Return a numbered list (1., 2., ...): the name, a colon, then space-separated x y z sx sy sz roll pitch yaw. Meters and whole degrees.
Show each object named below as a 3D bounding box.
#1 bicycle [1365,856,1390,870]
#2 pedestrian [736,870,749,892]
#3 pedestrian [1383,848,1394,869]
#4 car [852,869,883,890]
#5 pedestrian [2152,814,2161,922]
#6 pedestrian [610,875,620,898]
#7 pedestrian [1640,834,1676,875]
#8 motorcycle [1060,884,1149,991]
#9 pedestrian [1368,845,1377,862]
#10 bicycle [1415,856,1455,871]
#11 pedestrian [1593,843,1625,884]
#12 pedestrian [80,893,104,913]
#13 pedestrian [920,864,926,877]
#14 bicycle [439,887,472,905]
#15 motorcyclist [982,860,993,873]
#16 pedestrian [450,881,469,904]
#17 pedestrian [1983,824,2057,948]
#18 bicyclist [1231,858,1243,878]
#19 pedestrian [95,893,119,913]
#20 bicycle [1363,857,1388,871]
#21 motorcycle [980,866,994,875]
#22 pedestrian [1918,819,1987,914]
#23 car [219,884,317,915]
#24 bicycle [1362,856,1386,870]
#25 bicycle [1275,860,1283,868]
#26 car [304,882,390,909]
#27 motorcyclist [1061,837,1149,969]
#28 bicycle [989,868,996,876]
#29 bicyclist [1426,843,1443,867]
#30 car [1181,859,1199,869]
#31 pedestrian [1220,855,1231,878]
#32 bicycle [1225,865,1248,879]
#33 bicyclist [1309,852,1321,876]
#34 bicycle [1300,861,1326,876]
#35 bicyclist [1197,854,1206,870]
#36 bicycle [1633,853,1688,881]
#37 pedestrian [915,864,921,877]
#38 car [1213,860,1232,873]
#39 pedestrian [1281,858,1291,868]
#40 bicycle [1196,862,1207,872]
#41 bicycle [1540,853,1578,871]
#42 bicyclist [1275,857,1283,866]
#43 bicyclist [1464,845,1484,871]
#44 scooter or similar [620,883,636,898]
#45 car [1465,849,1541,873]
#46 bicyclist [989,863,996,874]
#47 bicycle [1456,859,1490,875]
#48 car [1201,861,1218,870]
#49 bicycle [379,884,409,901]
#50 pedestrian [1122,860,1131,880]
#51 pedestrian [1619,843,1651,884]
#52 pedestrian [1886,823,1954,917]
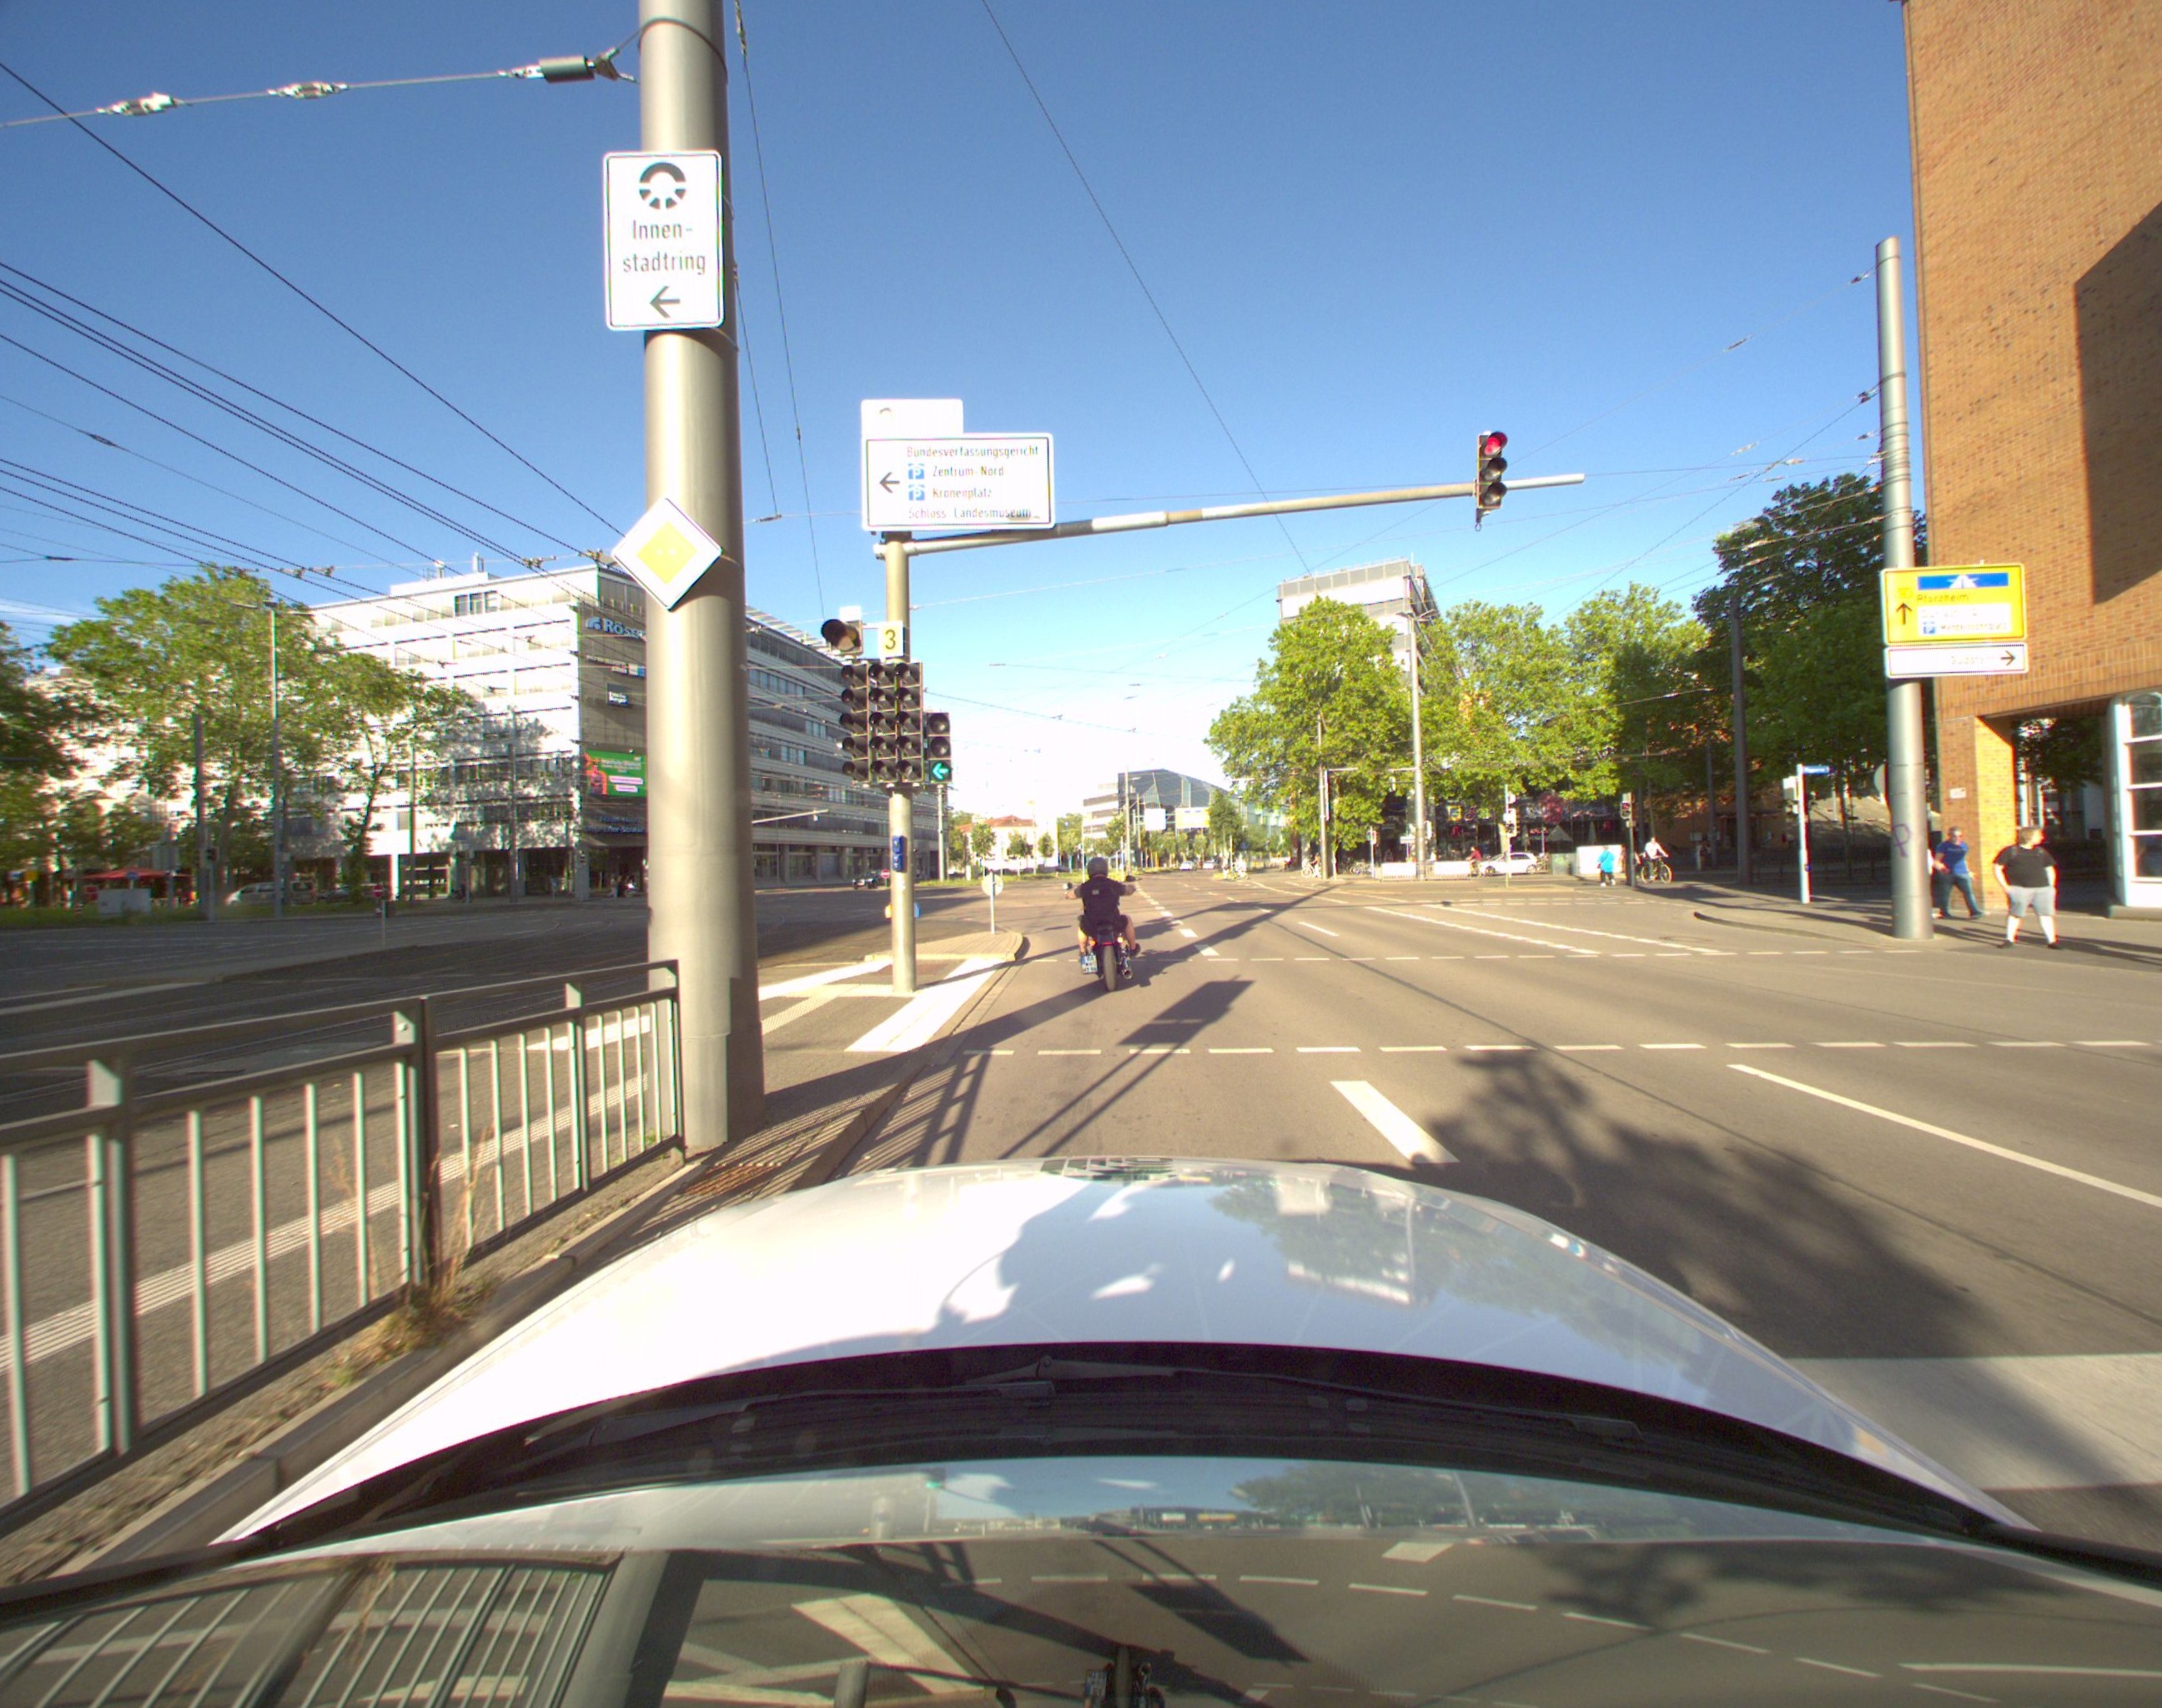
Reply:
1. bicycle: 22.012 0.695 60.549 1.692 0.986 0.392 -2 -1 15
2. pedestrian: -28.261 2.269 68.041 0.674 1.823 0.883 -3 -1 -7
3. pedestrian: 27.787 0.389 73.615 0.840 1.852 0.813 1 -1 16
4. car: -16.650 1.971 63.574 1.790 1.466 4.299 -2 0 -8
5. pedestrian: 13.431 0.409 9.675 0.500 1.833 0.725 -2 -2 -33
6. pedestrian: -35.096 2.426 61.354 0.640 1.708 0.576 -1 -1 -28
7. pedestrian: 22.327 0.025 31.508 0.767 1.594 0.838 0 -1 1
8. motorcycle: 0.300 0.984 10.340 1.002 1.125 2.324 0 0 2
9. pedestrian: 28.228 -0.046 78.890 0.768 1.527 0.567 -2 -1 27
10. bicycle: 29.396 0.794 67.660 3.013 1.113 0.840 -2 -1 25
11. pedestrian: 19.899 0.358 30.682 0.674 1.540 0.741 0 -1 -6
12. pedestrian: -82.234 4.072 67.721 0.985 1.546 0.875 -2 -1 9
13. pedestrian: -21.584 2.189 110.999 0.545 1.733 0.643 -2 -1 8
14. bicycle: -43.837 2.942 57.084 1.834 1.163 0.613 -1 2 3
15. motorcyclist: -13.244 1.797 115.201 1.012 1.731 1.465 -2 -1 13
16. pedestrian: -43.810 2.704 57.414 0.831 1.611 0.607 -1 2 2
17. pedestrian: 13.904 0.450 12.062 0.577 1.767 0.687 -1 0 -39
18. bicyclist: 11.966 1.055 62.473 0.736 1.503 0.573 -3 -2 25
19. pedestrian: -80.913 4.061 67.640 0.986 1.546 0.874 -2 -1 6
20. bicycle: 22.205 0.739 61.390 1.692 0.986 0.392 -2 -1 15
21. motorcycle: -13.232 2.289 115.132 0.977 1.232 2.953 -2 -1 13
22. pedestrian: 16.261 0.236 15.203 0.600 1.727 0.602 0 -1 0
23. car: -56.422 3.147 56.571 4.888 1.843 1.930 -2 2 2
24. bicycle: 22.598 0.706 62.754 1.692 0.986 0.392 -2 -1 15
25. bicycle: 31.343 1.576 129.008 1.032 1.133 3.194 -2 -1 17
26. car: -50.975 2.867 56.597 4.378 1.572 1.869 -2 2 6
27. motorcyclist: 0.301 0.582 10.243 1.018 1.552 1.287 0 -1 1
28. bicycle: -13.371 2.717 123.209 0.639 1.107 1.687 -1 -1 4
29. bicyclist: 29.369 0.063 67.723 1.215 1.931 0.840 -2 -1 25
30. car: 16.242 1.543 121.723 1.886 1.508 4.019 -1 -1 19
31. pedestrian: 11.455 0.968 64.410 0.693 1.837 0.518 -1 -2 37
32. bicycle: 11.936 1.383 62.489 1.612 1.021 0.519 -3 -1 25
33. bicyclist: 17.329 0.735 60.364 0.737 1.694 0.572 -2 -1 13
34. bicycle: 17.190 1.066 60.379 1.840 1.021 0.518 -2 -1 13
35. bicyclist: 19.444 1.310 131.365 1.007 2.624 1.479 -2 -1 20
36. bicycle: 22.321 0.491 31.427 0.786 1.052 1.923 0 -1 2
37. pedestrian: -22.194 2.266 111.141 0.545 1.733 0.643 -2 -1 8
38. car: 20.905 1.864 119.998 2.036 1.874 4.247 -1 -1 19
39. pedestrian: 21.589 0.951 85.698 0.777 1.057 0.819 -2 -1 24
40. bicycle: 19.367 2.040 131.166 1.007 1.580 3.592 -2 -1 20
41. bicycle: 34.810 0.557 59.264 2.938 1.235 0.870 -2 0 -26
42. bicyclist: 31.311 1.170 128.693 1.032 1.381 1.571 -2 -1 17
43. bicyclist: 24.930 0.269 51.637 0.921 1.615 0.638 -2 -1 5
44. scooter or similar: -34.350 2.757 61.743 1.021 1.129 0.545 -1 -1 -27
45. car: 27.561 0.450 53.322 3.967 1.486 2.003 -1 -1 6
46. bicyclist: -13.392 2.246 123.200 0.760 1.667 0.995 -1 -1 4
47. bicycle: 24.855 0.821 51.635 1.844 0.910 0.653 -2 -1 5
48. car: 21.975 1.944 139.146 1.999 1.376 4.058 -2 -1 19
49. bicycle: -51.461 2.910 61.047 0.466 1.151 1.843 -1 1 9
50. pedestrian: 3.595 1.279 64.229 0.654 1.582 0.490 -1 0 5
51. pedestrian: 20.955 0.351 30.801 0.649 1.540 0.741 0 -1 -6
52. pedestrian: 15.585 0.291 15.144 0.559 1.704 0.659 0 -1 4
